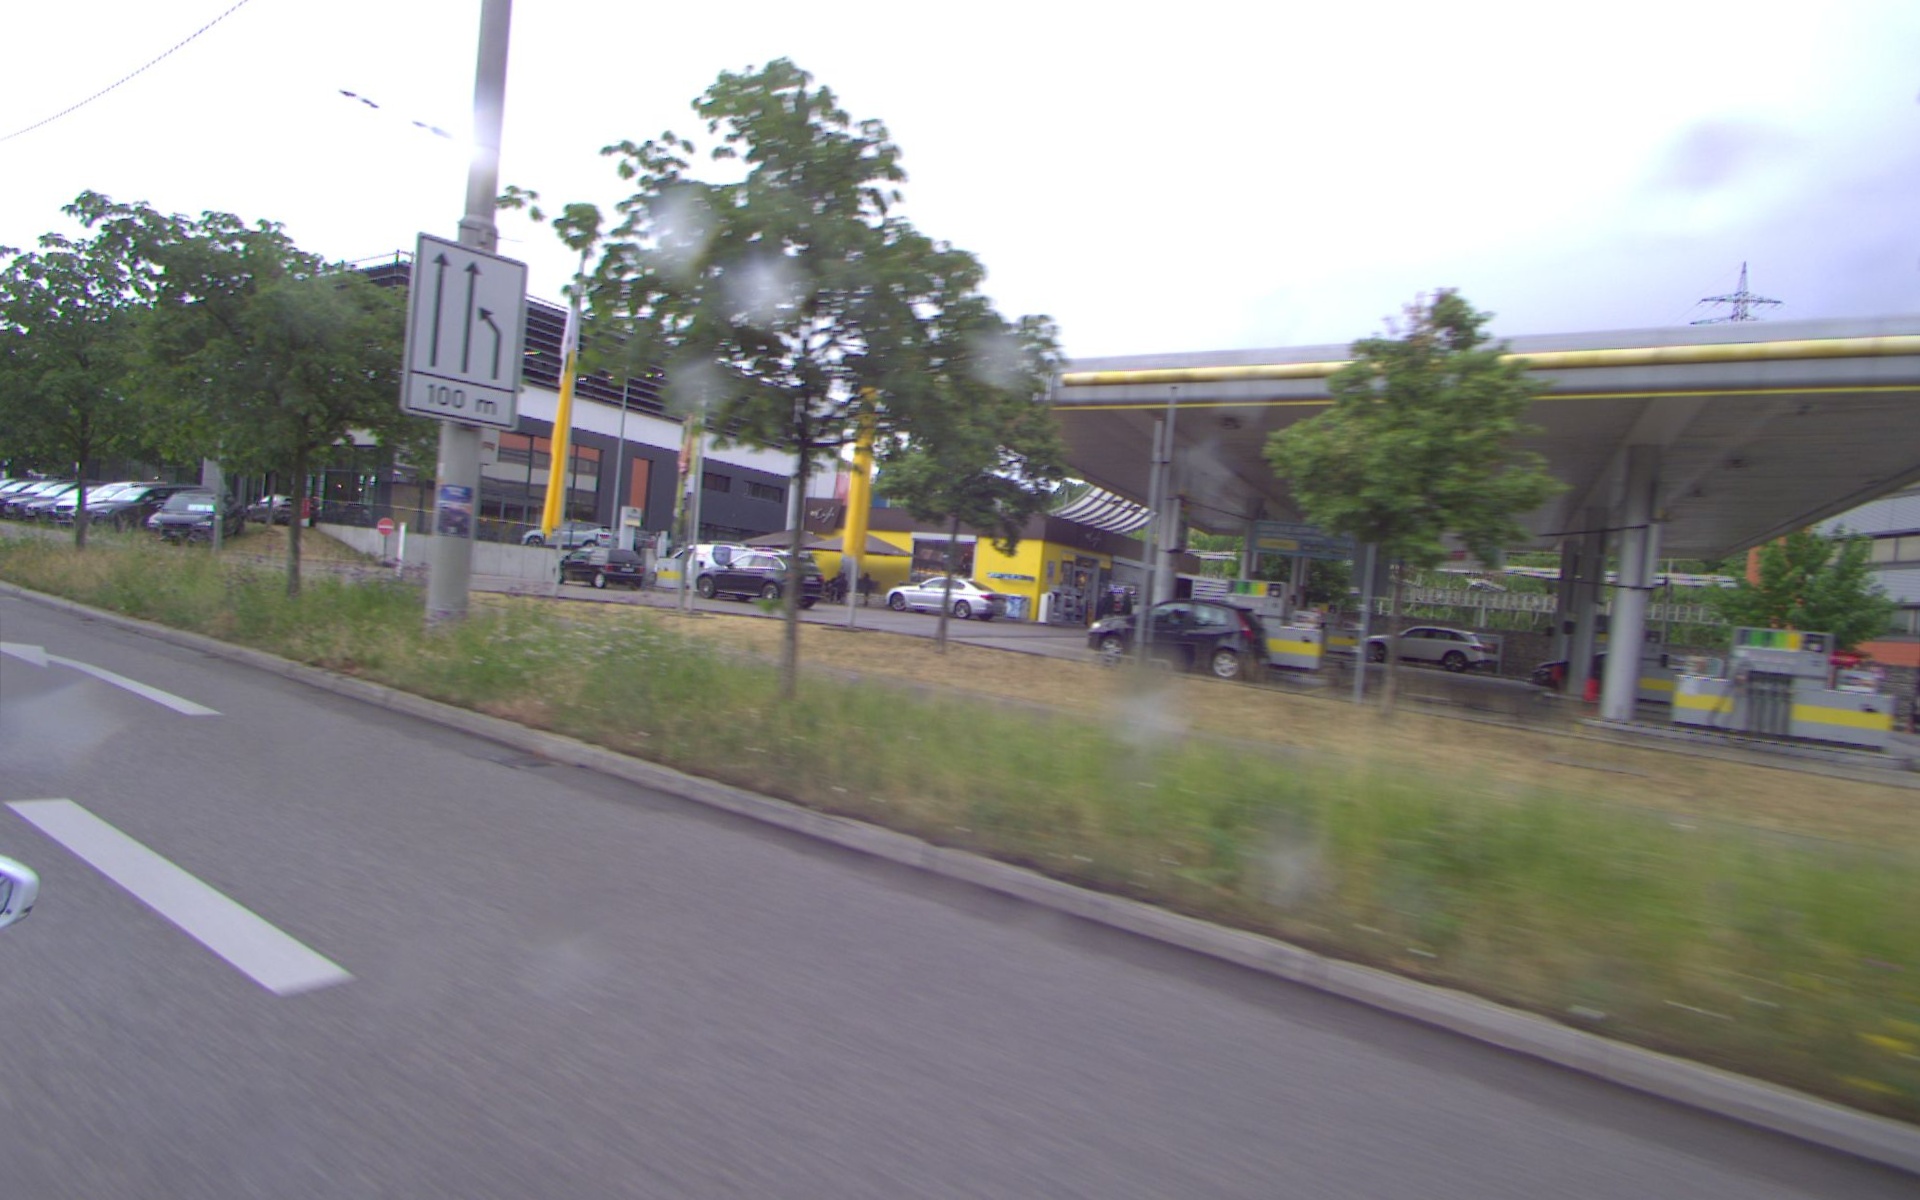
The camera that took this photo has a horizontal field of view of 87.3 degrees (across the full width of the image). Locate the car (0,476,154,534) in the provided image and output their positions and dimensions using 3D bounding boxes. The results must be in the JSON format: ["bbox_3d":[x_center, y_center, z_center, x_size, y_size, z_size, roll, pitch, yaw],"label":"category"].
[{"bbox_3d":[-35.097,-3.731,39.916,1.788,1.775,4.494,6,2,21],"label":"car"}]

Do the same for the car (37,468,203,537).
[{"bbox_3d":[-30.952,-3.546,37.270,1.786,2.018,4.497,6,2,13],"label":"car"}]

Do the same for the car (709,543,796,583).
[{"bbox_3d":[-11.360,-2.001,55.305,4.236,1.665,1.843,7,1,0],"label":"car"}]

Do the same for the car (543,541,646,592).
[{"bbox_3d":[-12.604,-1.155,34.646,3.431,1.354,1.393,6,0,31],"label":"car"}]

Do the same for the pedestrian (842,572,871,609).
[{"bbox_3d":[-4.047,-0.366,39.270,0.765,1.335,0.800,6,2,15],"label":"pedestrian"}]

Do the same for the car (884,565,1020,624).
[{"bbox_3d":[-0.330,-0.216,37.751,4.638,1.628,1.996,6,0,31],"label":"car"}]

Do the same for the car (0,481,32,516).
[{"bbox_3d":[-46.115,-4.895,46.758,1.656,1.522,4.052,6,2,21],"label":"car"}]

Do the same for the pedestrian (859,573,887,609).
[{"bbox_3d":[-3.488,-0.355,40.239,0.765,1.335,0.800,6,2,15],"label":"pedestrian"}]

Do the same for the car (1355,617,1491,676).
[{"bbox_3d":[18.181,1.806,39.570,4.524,1.684,1.997,6,-2,31],"label":"car"}]

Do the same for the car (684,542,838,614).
[{"bbox_3d":[-6.491,-0.722,32.609,4.638,1.758,1.996,6,0,31],"label":"car"}]

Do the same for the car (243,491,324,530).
[{"bbox_3d":[-32.744,-4.331,48.663,3.834,1.492,1.780,7,1,32],"label":"car"}]

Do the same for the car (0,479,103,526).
[{"bbox_3d":[-39.717,-4.230,42.875,1.788,1.641,4.492,6,2,24],"label":"car"}]

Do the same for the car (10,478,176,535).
[{"bbox_3d":[-33.005,-3.521,38.480,1.787,1.659,4.495,6,2,19],"label":"car"}]

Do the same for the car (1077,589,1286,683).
[{"bbox_3d":[4.542,0.700,20.725,3.720,1.438,1.779,7,2,33],"label":"car"}]

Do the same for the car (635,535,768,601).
[{"bbox_3d":[-9.644,-1.204,37.430,4.638,1.883,1.996,6,0,31],"label":"car"}]

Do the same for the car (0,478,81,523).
[{"bbox_3d":[-41.764,-4.455,44.119,1.788,1.685,4.494,6,2,21],"label":"car"}]

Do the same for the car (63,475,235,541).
[{"bbox_3d":[-28.660,-3.208,35.722,1.844,1.813,4.386,6,2,19],"label":"car"}]

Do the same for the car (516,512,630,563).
[{"bbox_3d":[-17.260,-2.773,44.983,4.236,1.665,1.843,7,1,0],"label":"car"}]

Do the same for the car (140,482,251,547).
[{"bbox_3d":[-25.539,-2.863,33.766,1.853,1.841,4.363,4,3,-23],"label":"car"}]

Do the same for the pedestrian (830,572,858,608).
[{"bbox_3d":[-4.621,-0.390,40.101,0.700,1.335,0.800,6,2,15],"label":"pedestrian"}]

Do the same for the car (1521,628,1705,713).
[{"bbox_3d":[17.624,1.847,27.360,3.933,1.673,1.896,6,5,31],"label":"car"}]

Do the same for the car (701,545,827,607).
[{"bbox_3d":[-7.779,-0.962,39.864,4.639,1.883,1.996,6,0,32],"label":"car"}]

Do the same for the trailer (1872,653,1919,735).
[{"bbox_3d":[27.234,2.704,27.046,1.804,2.174,3.999,6,1,6],"label":"trailer"}]

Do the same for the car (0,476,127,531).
[{"bbox_3d":[-37.450,-3.987,41.428,1.788,1.819,4.494,6,2,21],"label":"car"}]
